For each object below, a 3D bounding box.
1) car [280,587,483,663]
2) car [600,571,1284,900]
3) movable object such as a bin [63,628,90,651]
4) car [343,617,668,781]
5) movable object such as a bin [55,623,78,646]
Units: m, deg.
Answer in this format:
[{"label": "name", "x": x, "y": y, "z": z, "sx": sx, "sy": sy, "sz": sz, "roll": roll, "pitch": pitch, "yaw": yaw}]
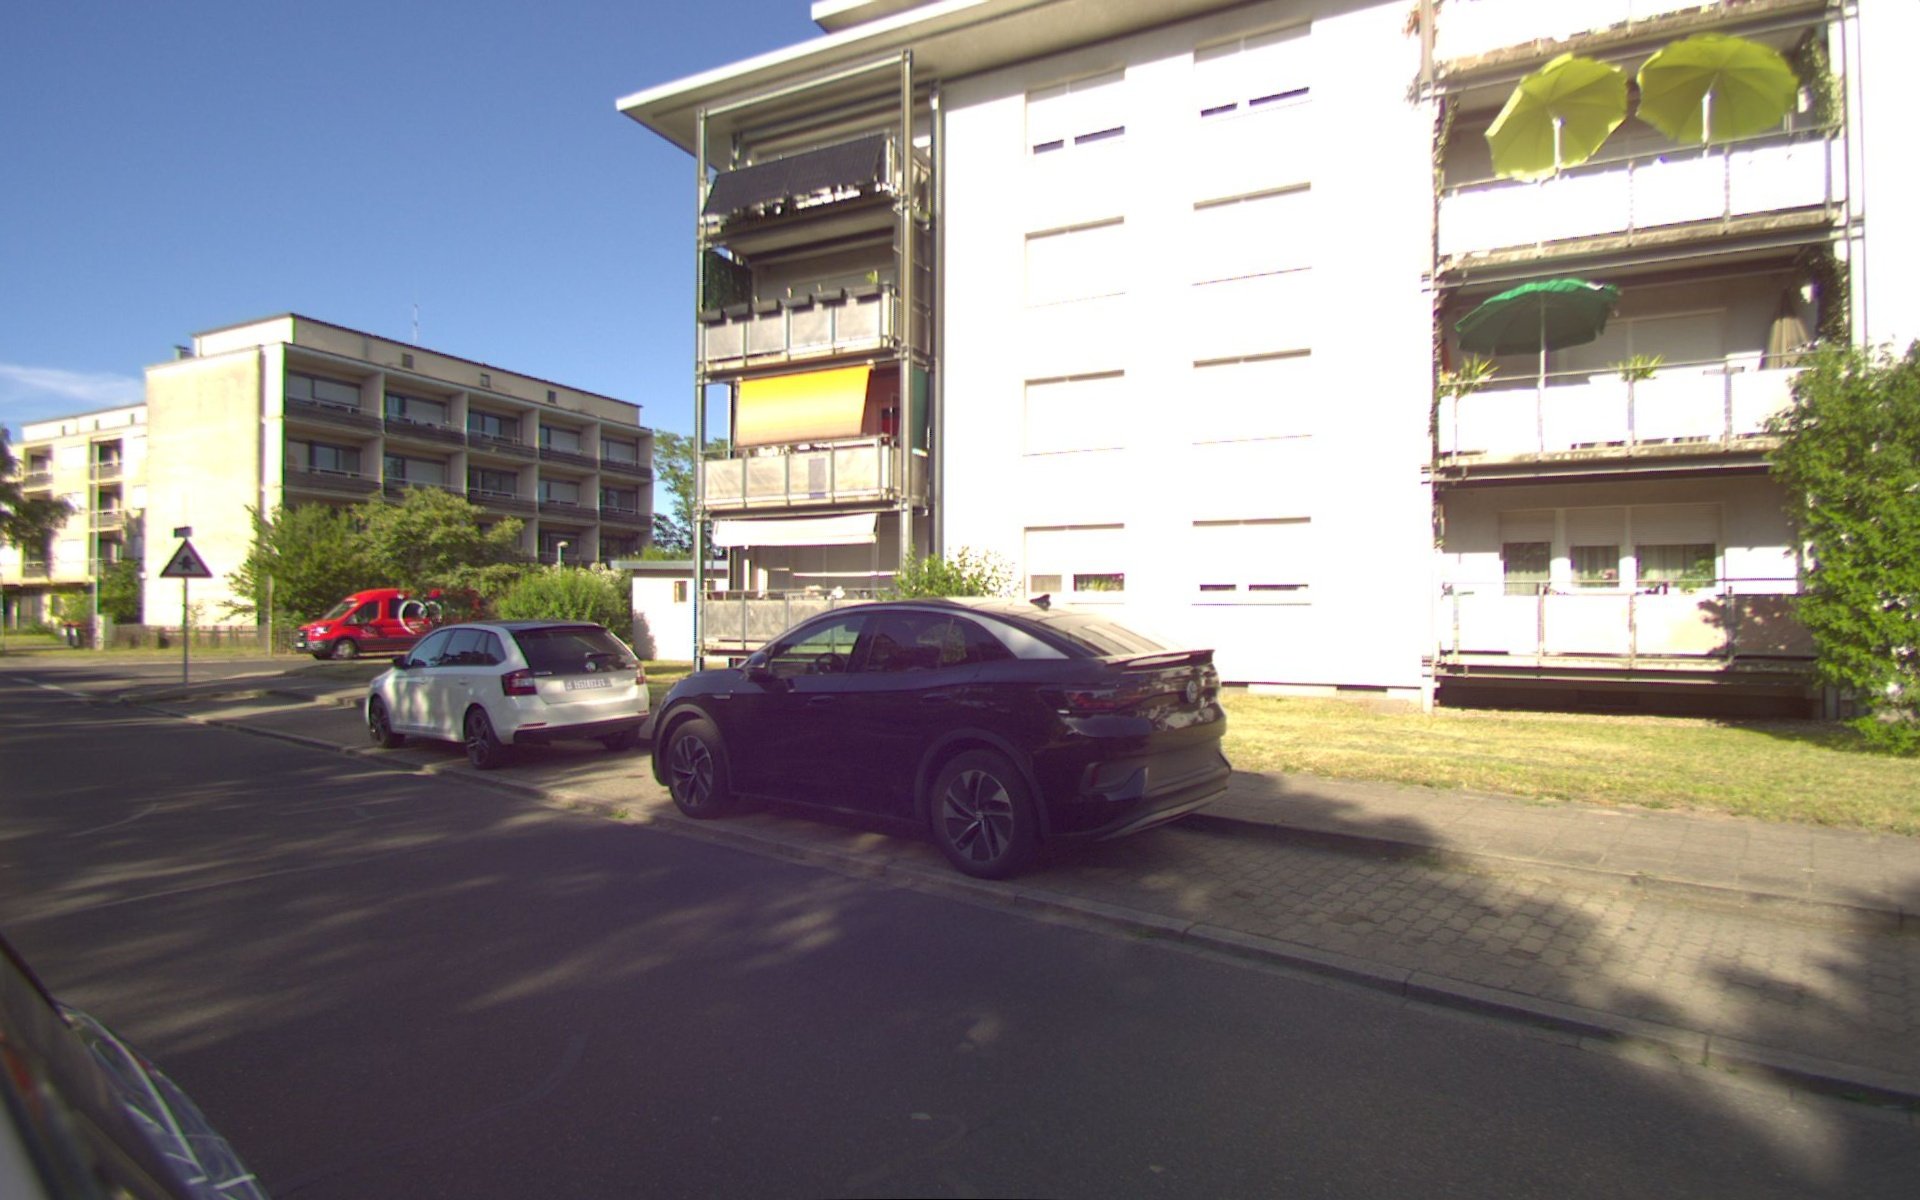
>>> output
[{"label": "car", "x": -20.353, "y": 0.931, "z": 35.893, "sx": 2.209, "sy": 2.447, "sz": 5.850, "roll": -3, "pitch": -3, "yaw": 37}, {"label": "car", "x": -0.384, "y": 0.697, "z": 7.234, "sx": 4.807, "sy": 1.616, "sz": 1.895, "roll": 0, "pitch": -2, "yaw": 39}, {"label": "movable object such as a bin", "x": -40.109, "y": 1.795, "z": 45.931, "sx": 0.696, "sy": 1.056, "sz": 0.626, "roll": 0, "pitch": -1, "yaw": 14}, {"label": "car", "x": -5.191, "y": 0.946, "z": 11.275, "sx": 4.328, "sy": 1.478, "sz": 1.629, "roll": -1, "pitch": -1, "yaw": 41}, {"label": "movable object such as a bin", "x": -40.718, "y": 1.562, "z": 46.122, "sx": 0.552, "sy": 1.061, "sz": 0.562, "roll": 0, "pitch": -1, "yaw": 15}]
